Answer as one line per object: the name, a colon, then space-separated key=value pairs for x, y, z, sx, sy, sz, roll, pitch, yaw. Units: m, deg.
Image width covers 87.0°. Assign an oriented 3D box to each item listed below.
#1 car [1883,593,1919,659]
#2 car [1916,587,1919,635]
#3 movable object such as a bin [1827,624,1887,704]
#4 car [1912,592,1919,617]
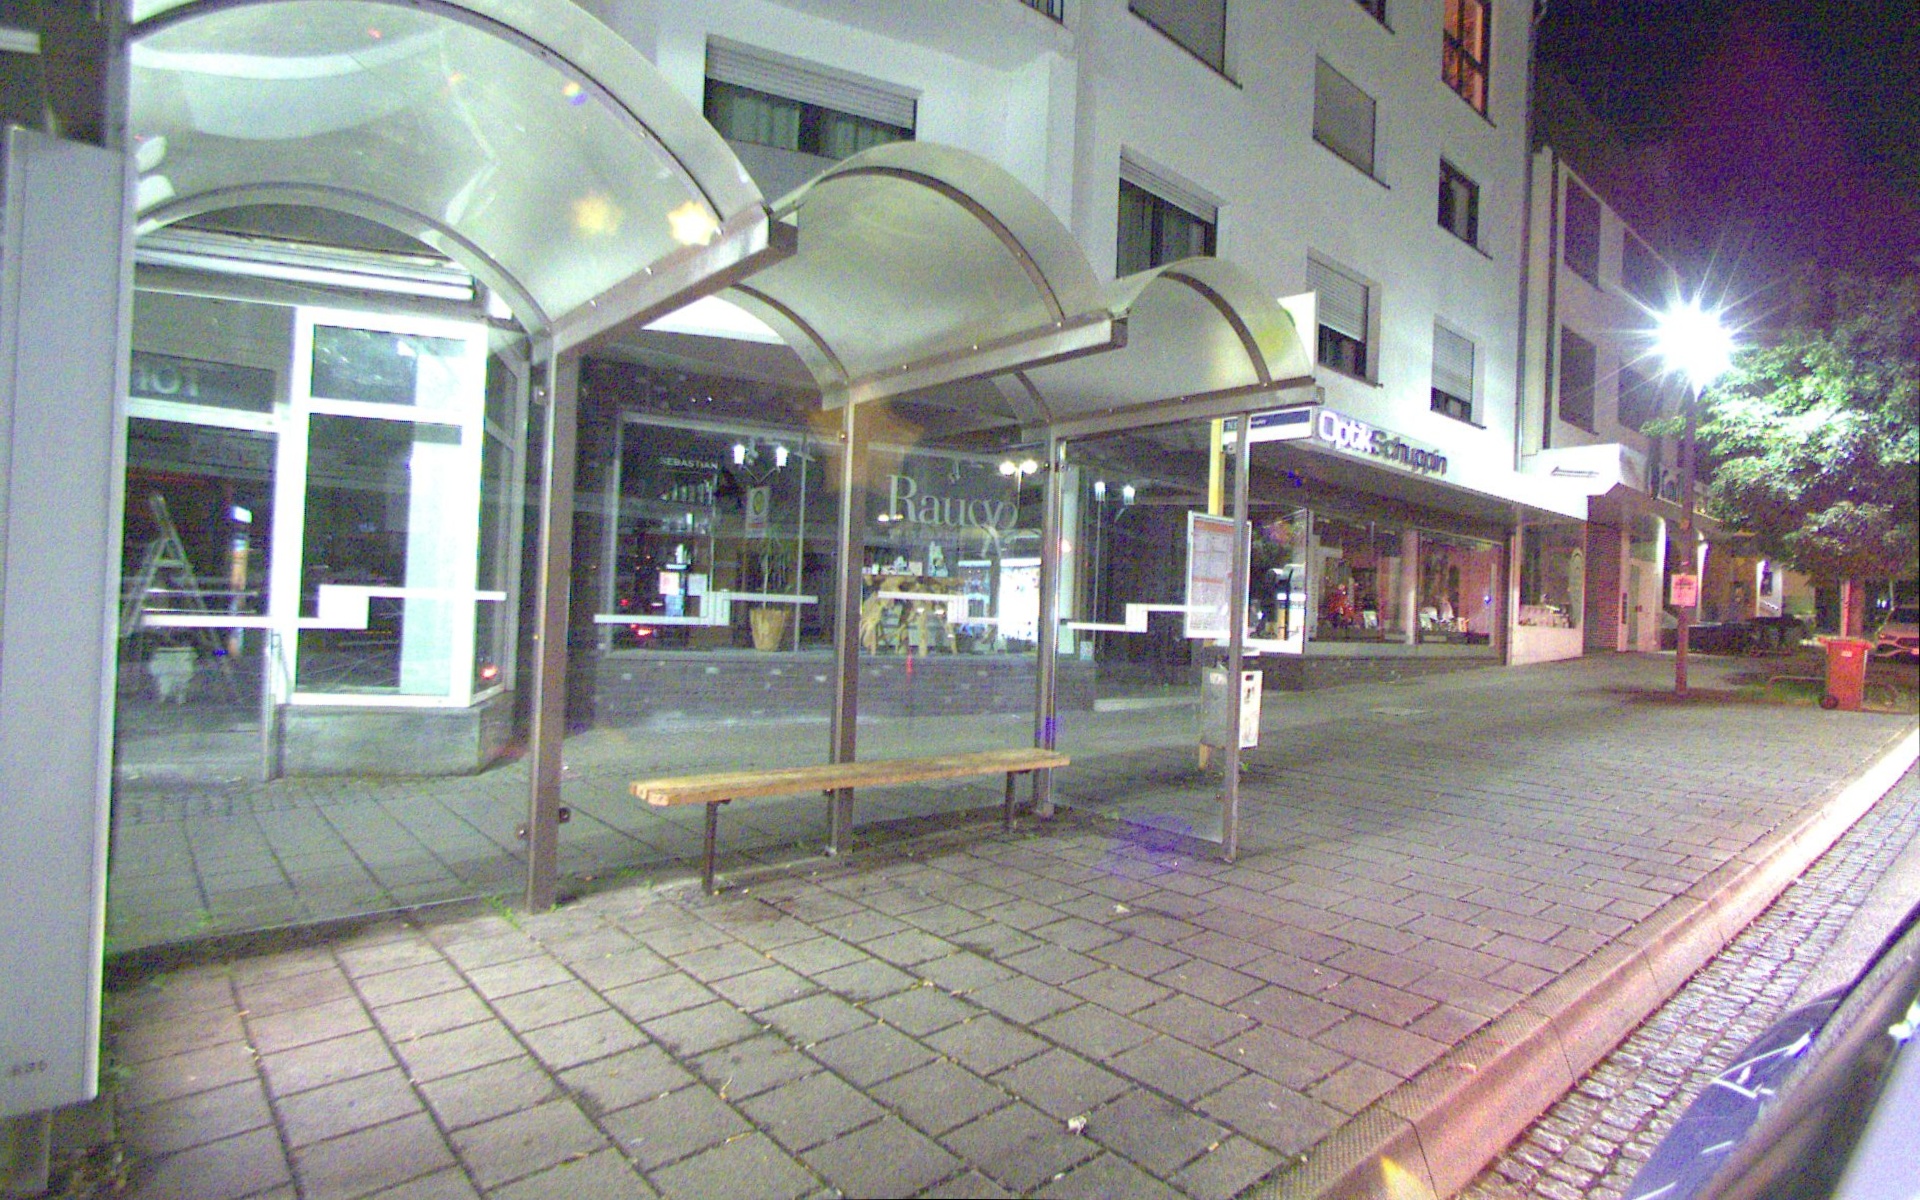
car: x=23.750 y=0.608 z=24.458 sx=4.519 sy=1.459 sz=1.859 roll=-1 pitch=3 yaw=-45
car: x=35.208 y=0.400 z=35.873 sx=1.788 sy=1.661 sz=4.309 roll=4 pitch=3 yaw=44
movable object such as a bin: x=11.333 y=0.793 z=12.796 sx=0.523 sy=0.949 sz=0.621 roll=0 pitch=1 yaw=38
car: x=59.723 y=0.278 z=62.258 sx=1.638 sy=1.485 sz=3.717 roll=-1 pitch=0 yaw=43
